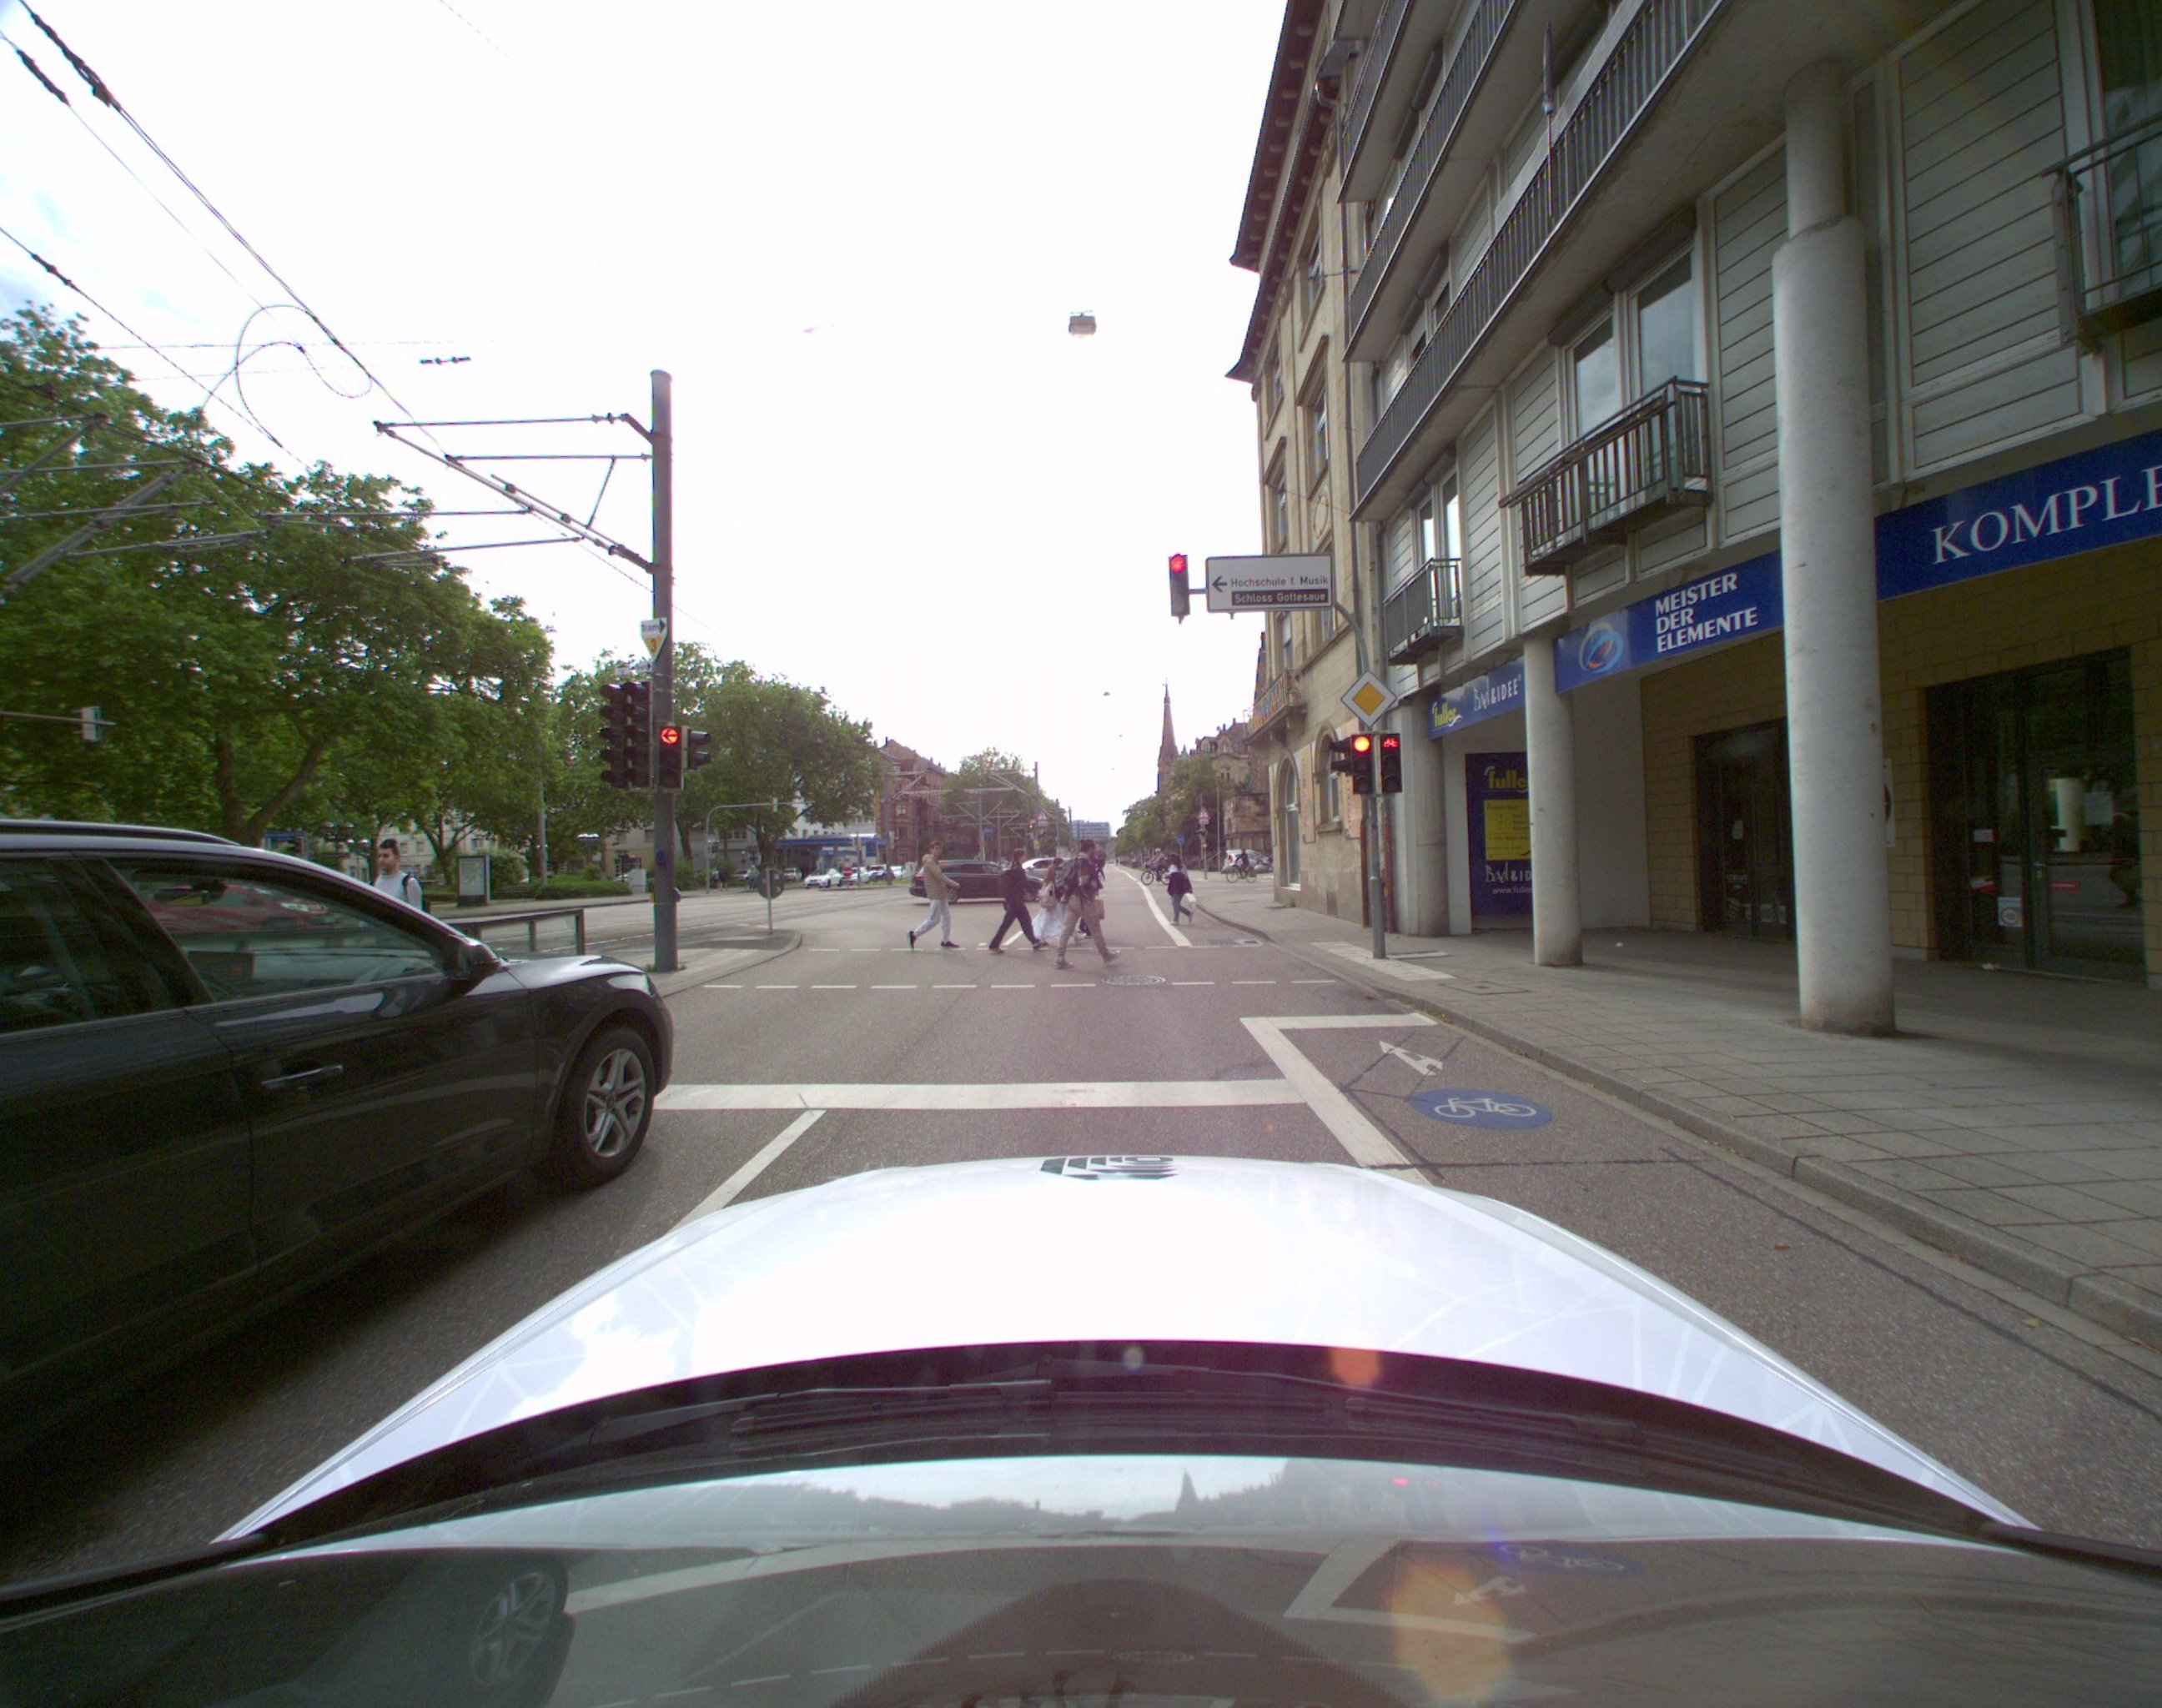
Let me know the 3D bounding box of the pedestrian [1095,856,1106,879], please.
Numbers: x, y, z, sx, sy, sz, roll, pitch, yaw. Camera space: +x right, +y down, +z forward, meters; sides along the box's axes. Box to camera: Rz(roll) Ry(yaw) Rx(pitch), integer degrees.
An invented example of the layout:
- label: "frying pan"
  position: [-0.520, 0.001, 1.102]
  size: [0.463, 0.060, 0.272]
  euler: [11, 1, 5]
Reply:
- label: "pedestrian"
  position: [1.267, 0.878, 53.342]
  size: [0.651, 1.537, 0.465]
  euler: [0, -1, -3]

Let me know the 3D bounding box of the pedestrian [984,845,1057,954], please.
- label: "pedestrian"
  position: [-0.956, 0.697, 12.977]
  size: [0.620, 1.652, 1.003]
  euler: [-1, -1, 39]

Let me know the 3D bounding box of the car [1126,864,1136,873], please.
- label: "car"
  position: [10.609, 3.067, 173.493]
  size: [1.986, 2.014, 4.001]
  euler: [0, -1, 2]

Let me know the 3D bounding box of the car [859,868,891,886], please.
- label: "car"
  position: [-18.732, 2.055, 74.157]
  size: [1.887, 1.557, 3.837]
  euler: [0, -1, 2]

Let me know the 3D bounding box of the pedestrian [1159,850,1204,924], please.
- label: "pedestrian"
  position: [2.326, 0.747, 18.871]
  size: [0.663, 1.680, 0.874]
  euler: [-1, -1, 40]

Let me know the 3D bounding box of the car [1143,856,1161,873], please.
- label: "car"
  position: [8.809, 1.285, 100.801]
  size: [1.986, 2.014, 4.001]
  euler: [0, -1, 1]

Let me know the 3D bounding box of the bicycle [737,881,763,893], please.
- label: "bicycle"
  position: [-22.882, 2.266, 56.328]
  size: [1.665, 0.773, 0.659]
  euler: [-1, -1, 22]

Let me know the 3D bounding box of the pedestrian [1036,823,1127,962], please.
- label: "pedestrian"
  position: [0.017, 0.501, 11.064]
  size: [0.620, 1.779, 1.141]
  euler: [-2, -1, 39]

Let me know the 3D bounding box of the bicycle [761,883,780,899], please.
- label: "bicycle"
  position: [-21.506, 2.570, 56.499]
  size: [0.520, 1.017, 1.937]
  euler: [0, -1, 2]

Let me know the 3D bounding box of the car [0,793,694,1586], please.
- label: "car"
  position: [-3.118, 0.699, 2.314]
  size: [1.873, 1.601, 4.358]
  euler: [-1, -1, 1]

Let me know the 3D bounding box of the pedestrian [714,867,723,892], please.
- label: "pedestrian"
  position: [-25.353, 1.782, 57.021]
  size: [0.370, 1.784, 0.452]
  euler: [-1, -1, 34]

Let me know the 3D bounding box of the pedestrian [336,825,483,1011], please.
- label: "pedestrian"
  position: [-6.297, 0.575, 7.676]
  size: [0.751, 1.661, 0.730]
  euler: [0, -1, 1]

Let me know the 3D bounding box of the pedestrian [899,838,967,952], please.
- label: "pedestrian"
  position: [-2.445, 0.653, 13.411]
  size: [1.015, 1.813, 0.580]
  euler: [0, -1, -22]

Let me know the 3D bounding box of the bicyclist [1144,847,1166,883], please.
- label: "bicyclist"
  position: [3.805, 0.555, 41.994]
  size: [0.970, 1.819, 0.527]
  euler: [0, -1, -27]

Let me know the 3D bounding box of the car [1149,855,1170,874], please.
- label: "car"
  position: [8.805, 1.196, 91.543]
  size: [1.986, 2.014, 4.001]
  euler: [0, -1, 1]

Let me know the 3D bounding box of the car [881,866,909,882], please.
- label: "car"
  position: [-18.436, 1.950, 80.869]
  size: [1.887, 1.557, 3.837]
  euler: [0, -1, 2]

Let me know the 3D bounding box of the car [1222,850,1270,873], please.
- label: "car"
  position: [14.019, 0.643, 69.311]
  size: [3.785, 1.904, 2.001]
  euler: [0, -1, 1]

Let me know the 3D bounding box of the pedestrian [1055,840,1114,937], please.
- label: "pedestrian"
  position: [0.066, 0.637, 15.471]
  size: [0.906, 1.784, 0.651]
  euler: [-1, -1, 39]

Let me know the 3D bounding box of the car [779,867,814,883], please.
- label: "car"
  position: [-28.754, 2.113, 82.478]
  size: [1.986, 1.530, 4.001]
  euler: [0, -1, 2]

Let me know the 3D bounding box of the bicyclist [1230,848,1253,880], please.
- label: "bicyclist"
  position: [8.698, 0.547, 44.027]
  size: [1.041, 1.683, 0.641]
  euler: [0, -1, -19]

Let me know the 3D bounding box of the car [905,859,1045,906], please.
- label: "car"
  position: [-3.637, 0.935, 27.986]
  size: [4.452, 1.510, 1.824]
  euler: [0, -1, -24]

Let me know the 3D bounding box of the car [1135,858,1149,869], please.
- label: "car"
  position: [9.694, 1.482, 129.612]
  size: [1.986, 1.607, 4.165]
  euler: [-3, -1, 1]

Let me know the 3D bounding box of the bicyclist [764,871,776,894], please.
- label: "bicyclist"
  position: [-21.538, 1.966, 56.384]
  size: [0.585, 1.567, 0.619]
  euler: [0, -1, 1]

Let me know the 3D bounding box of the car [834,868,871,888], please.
- label: "car"
  position: [-18.815, 1.988, 67.161]
  size: [1.887, 1.557, 3.837]
  euler: [0, -1, 2]

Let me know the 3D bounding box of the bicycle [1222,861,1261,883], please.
- label: "bicycle"
  position: [8.680, 0.952, 44.002]
  size: [1.943, 1.135, 0.731]
  euler: [0, -1, -19]

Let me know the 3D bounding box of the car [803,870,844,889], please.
- label: "car"
  position: [-19.144, 1.908, 60.723]
  size: [1.628, 1.325, 4.001]
  euler: [0, -1, 2]

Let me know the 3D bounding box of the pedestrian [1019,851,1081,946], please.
- label: "pedestrian"
  position: [-0.536, 0.753, 14.187]
  size: [0.693, 1.593, 0.836]
  euler: [-1, -1, 39]

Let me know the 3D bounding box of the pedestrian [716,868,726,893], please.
- label: "pedestrian"
  position: [-25.168, 1.842, 56.925]
  size: [0.370, 1.784, 0.555]
  euler: [-1, -1, 33]

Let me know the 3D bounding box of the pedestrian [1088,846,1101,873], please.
- label: "pedestrian"
  position: [0.855, 0.339, 51.317]
  size: [0.848, 1.654, 0.508]
  euler: [0, -1, -1]

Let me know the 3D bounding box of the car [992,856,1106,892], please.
- label: "car"
  position: [-1.433, 0.879, 36.299]
  size: [4.734, 1.510, 1.826]
  euler: [0, -1, -20]

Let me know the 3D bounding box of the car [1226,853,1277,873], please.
- label: "car"
  position: [13.750, 0.720, 65.903]
  size: [3.785, 1.601, 2.001]
  euler: [0, -1, 1]

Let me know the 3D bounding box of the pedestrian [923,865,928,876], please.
- label: "pedestrian"
  position: [-21.981, 2.335, 115.217]
  size: [0.447, 1.460, 0.529]
  euler: [-1, -1, 31]

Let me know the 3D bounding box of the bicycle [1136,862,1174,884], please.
- label: "bicycle"
  position: [3.839, 0.965, 41.991]
  size: [1.910, 1.142, 0.623]
  euler: [0, -1, -28]

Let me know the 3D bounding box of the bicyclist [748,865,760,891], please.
- label: "bicyclist"
  position: [-22.602, 1.689, 56.282]
  size: [0.528, 1.784, 0.472]
  euler: [-1, -1, 21]
